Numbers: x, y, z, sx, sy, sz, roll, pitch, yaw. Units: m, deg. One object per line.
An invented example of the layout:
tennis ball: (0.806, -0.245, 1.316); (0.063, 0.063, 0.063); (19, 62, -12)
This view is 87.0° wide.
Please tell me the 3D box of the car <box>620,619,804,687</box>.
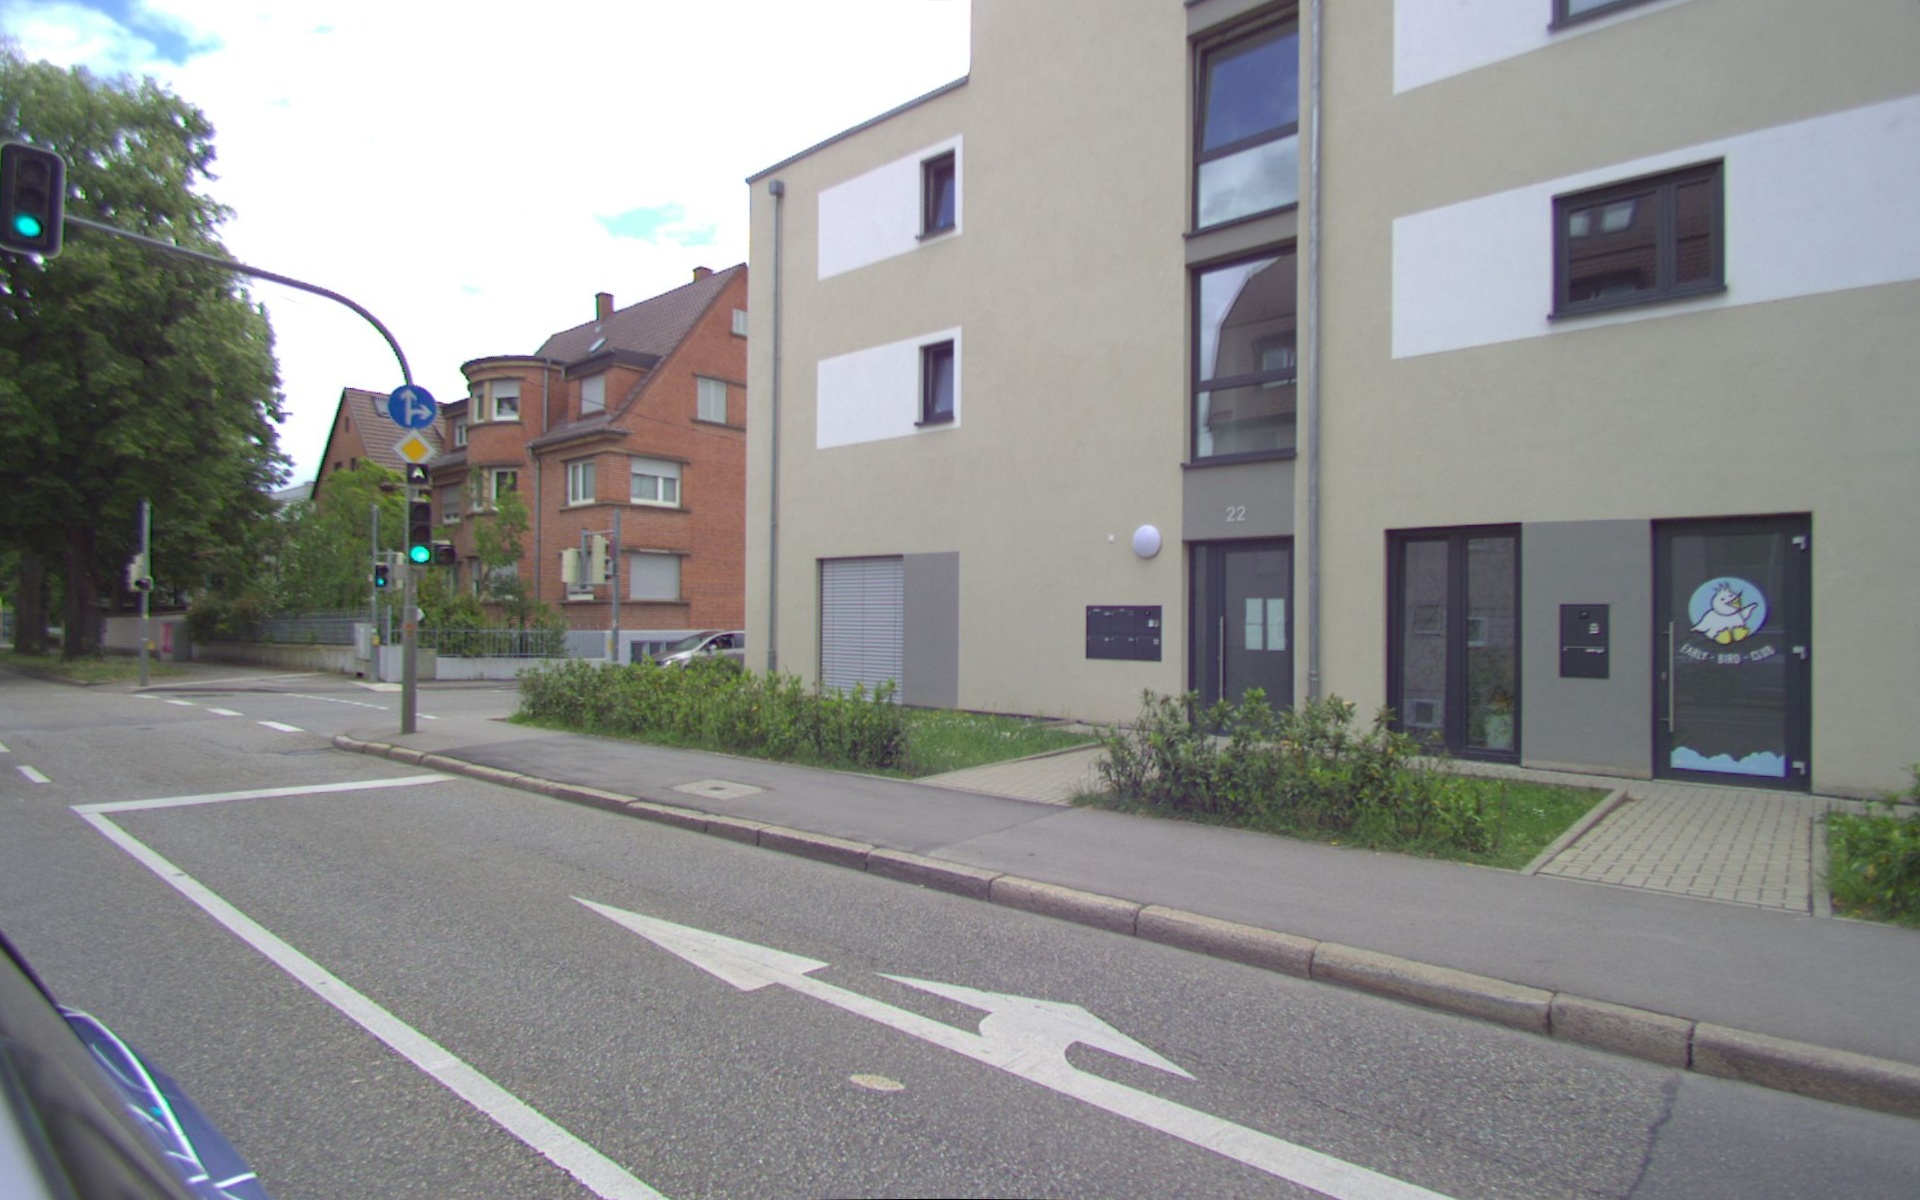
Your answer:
car: (-6.803, 1.398, 28.233); (2.171, 1.698, 4.756); (-1, -2, 36)
